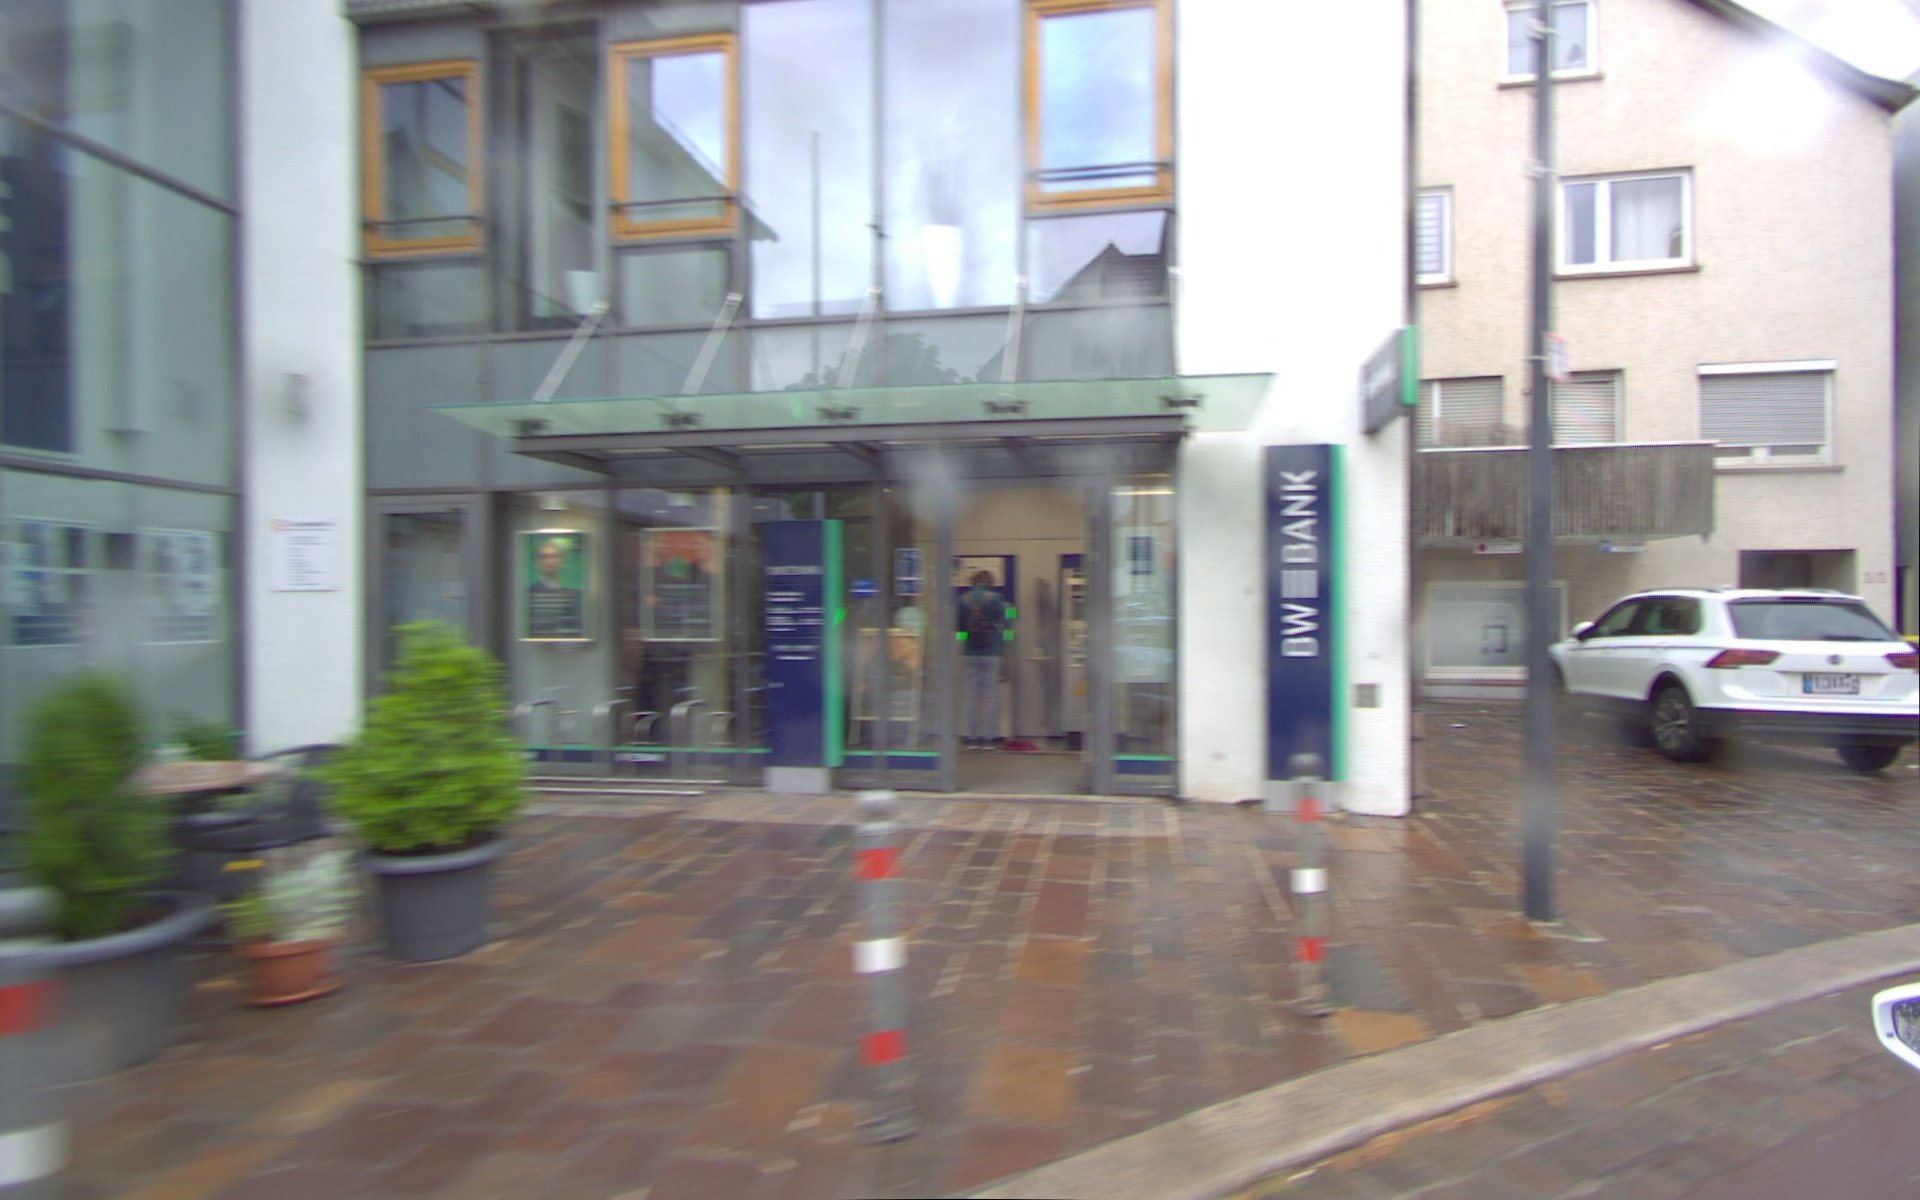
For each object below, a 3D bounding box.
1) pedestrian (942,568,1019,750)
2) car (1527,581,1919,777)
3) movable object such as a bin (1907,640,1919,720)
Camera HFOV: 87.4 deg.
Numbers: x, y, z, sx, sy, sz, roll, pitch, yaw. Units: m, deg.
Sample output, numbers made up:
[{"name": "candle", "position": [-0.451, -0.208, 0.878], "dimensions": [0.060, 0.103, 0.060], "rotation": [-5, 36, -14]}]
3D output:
[{"name": "pedestrian", "position": [0.209, 0.557, 9.698], "dimensions": [0.658, 1.689, 0.627], "rotation": [0, -1, 9]}, {"name": "car", "position": [7.688, 0.680, 10.481], "dimensions": [1.796, 1.604, 4.001], "rotation": [2, 0, 10]}, {"name": "movable object such as a bin", "position": [12.850, 1.059, 13.153], "dimensions": [0.463, 1.042, 0.476], "rotation": [2, 0, 14]}]
